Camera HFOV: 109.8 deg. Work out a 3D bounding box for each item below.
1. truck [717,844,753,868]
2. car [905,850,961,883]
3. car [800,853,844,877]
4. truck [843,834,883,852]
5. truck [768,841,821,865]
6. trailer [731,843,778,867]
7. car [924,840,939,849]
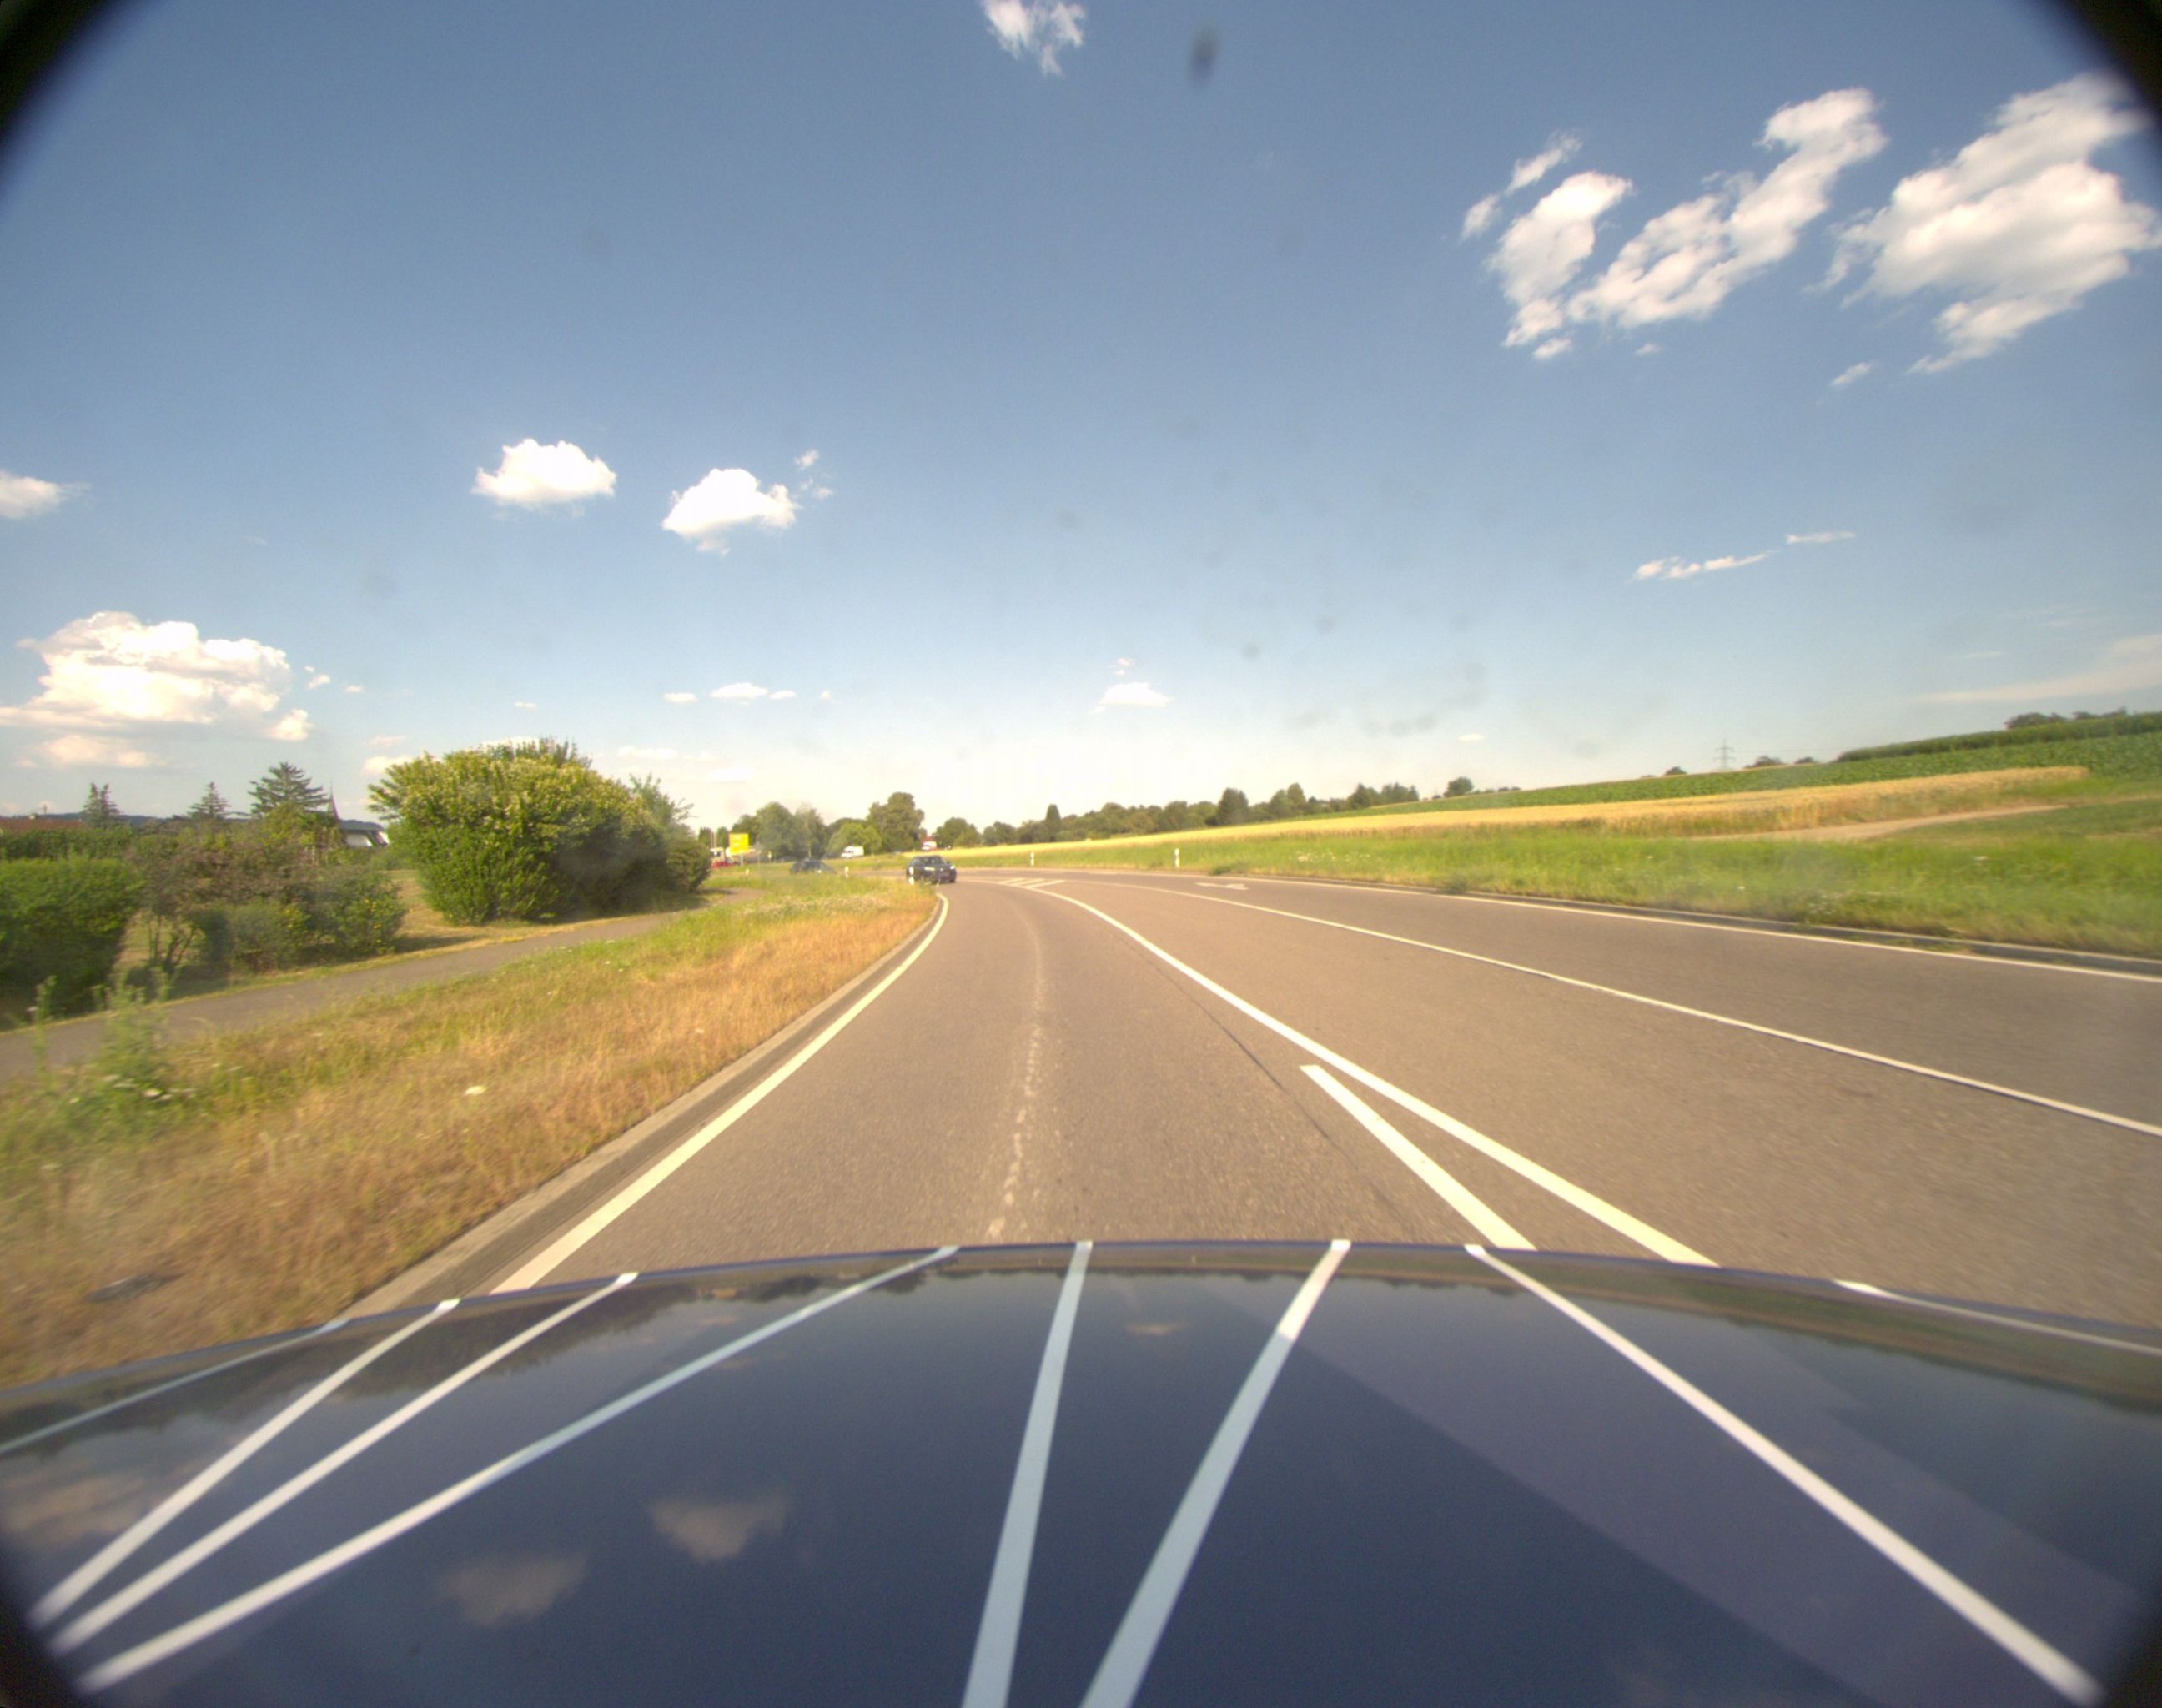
[{"bbox_3d":[-58.420,0.296,128.356,2.259,3.784,5.689,-3,2,12],"label":"truck"},{"bbox_3d":[-8.464,0.687,43.078,1.791,1.620,4.459,-4,2,-28],"label":"car"},{"bbox_3d":[-19.590,0.827,57.294,1.779,1.604,4.536,-5,2,-36],"label":"car"},{"bbox_3d":[-49.071,-2.552,171.409,2.526,3.753,12.906,-3,2,13],"label":"truck"},{"bbox_3d":[-55.007,-0.292,146.477,2.526,3.752,12.906,-5,1,13],"label":"truck"},{"bbox_3d":[-57.271,0.108,133.665,2.262,3.756,9.530,-4,1,12],"label":"trailer"},{"bbox_3d":[-40.517,-2.605,205.804,1.997,2.001,4.004,-12,-2,16],"label":"car"}]
